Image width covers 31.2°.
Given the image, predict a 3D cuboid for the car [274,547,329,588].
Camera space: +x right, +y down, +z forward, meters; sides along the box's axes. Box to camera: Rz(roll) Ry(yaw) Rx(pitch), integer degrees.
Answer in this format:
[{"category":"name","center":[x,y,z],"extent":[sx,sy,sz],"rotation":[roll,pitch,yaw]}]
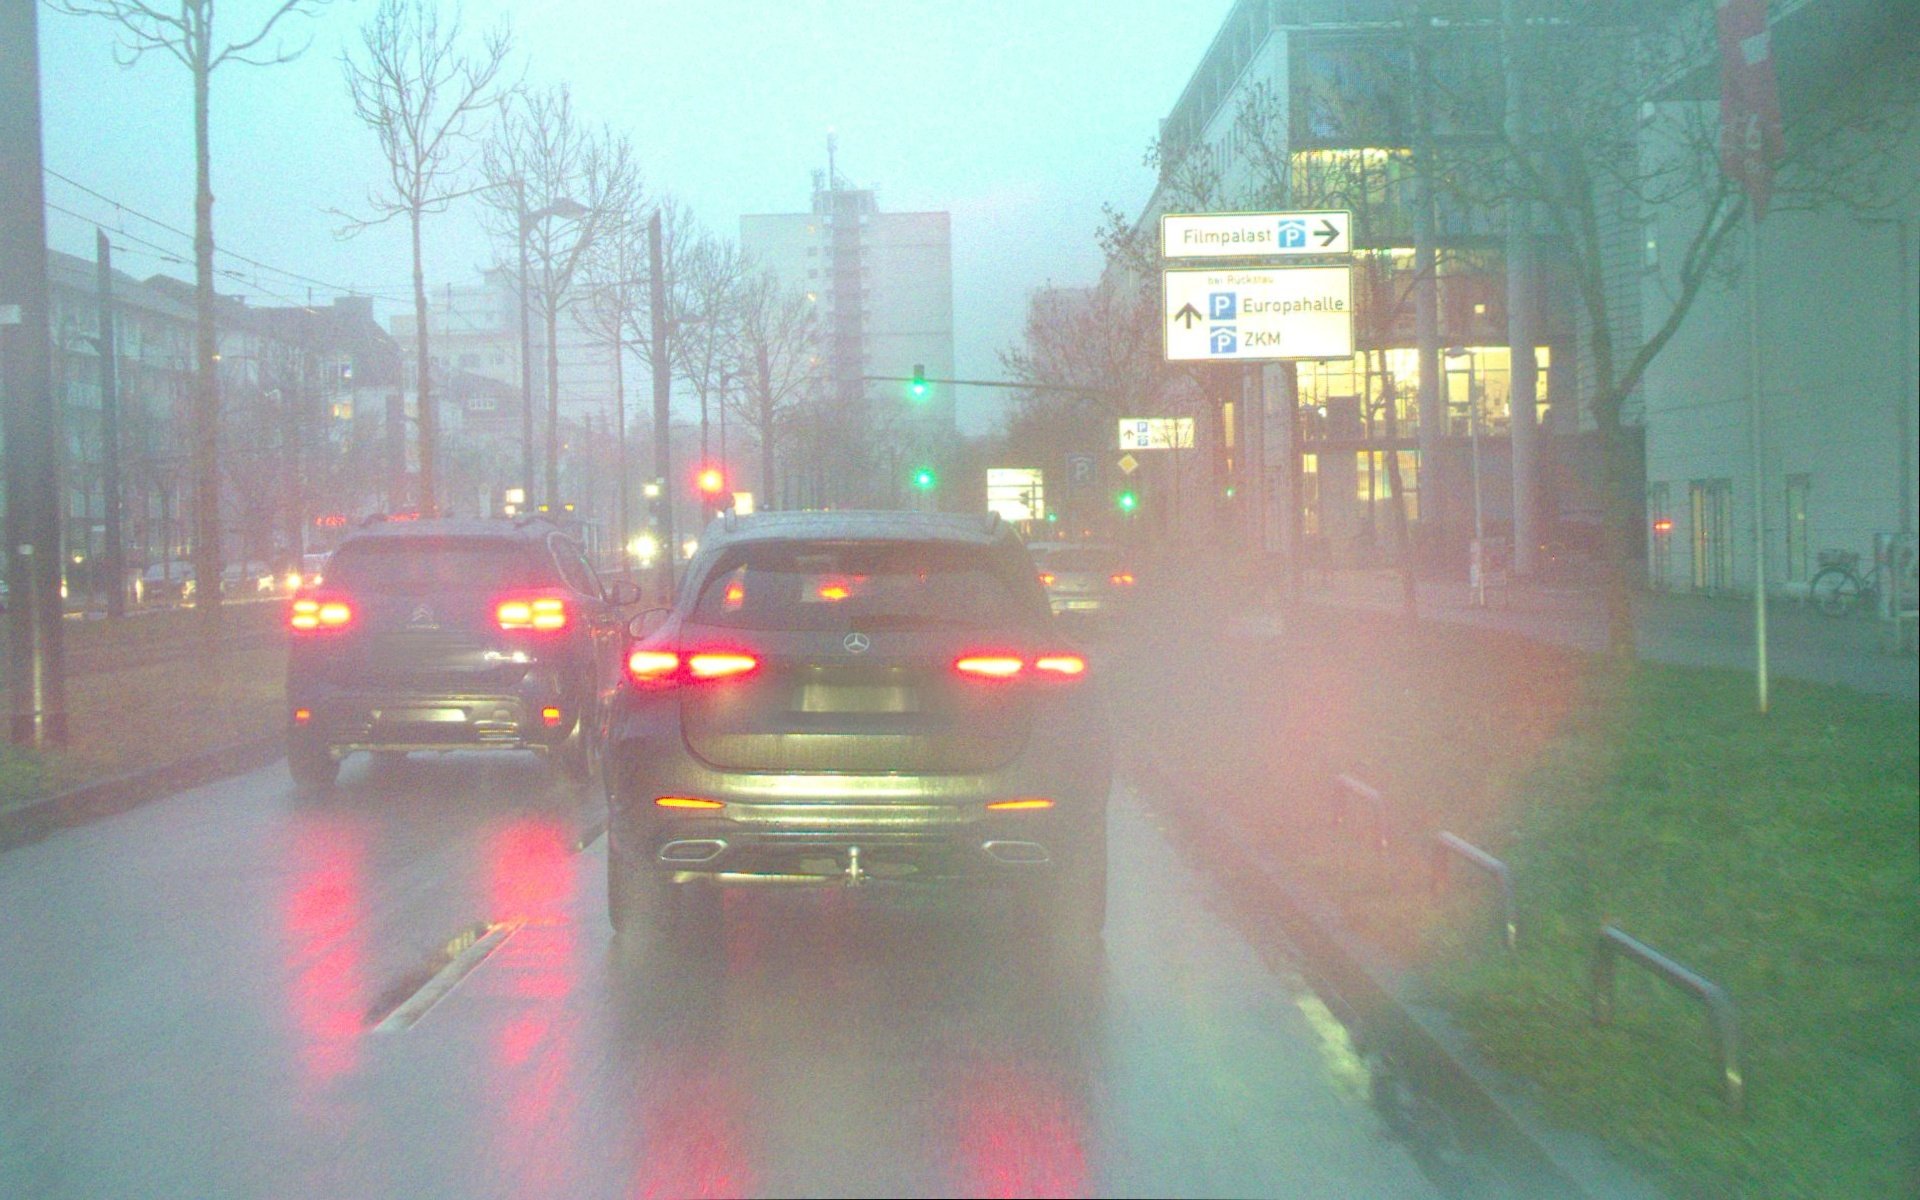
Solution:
[{"category":"car","center":[-27.057,-1.350,141.307],"extent":[1.613,1.617,3.509],"rotation":[1,1,-1]}]

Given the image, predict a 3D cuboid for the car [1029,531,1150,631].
[{"category":"car","center":[2.097,-0.330,55.515],"extent":[1.867,1.537,3.610],"rotation":[1,1,2]}]

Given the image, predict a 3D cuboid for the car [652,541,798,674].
[{"category":"car","center":[-3.019,0.064,44.623],"extent":[1.689,1.629,3.474],"rotation":[1,1,-1]}]

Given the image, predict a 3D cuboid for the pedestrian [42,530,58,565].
[{"category":"pedestrian","center":[-31.181,-1.795,117.783],"extent":[0.345,1.180,0.434],"rotation":[0,1,-41]}]

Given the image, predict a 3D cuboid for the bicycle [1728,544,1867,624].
[{"category":"bicycle","center":[11.672,-0.227,47.922],"extent":[1.808,1.048,0.397],"rotation":[-2,1,-2]}]

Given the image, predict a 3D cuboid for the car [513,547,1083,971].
[{"category":"car","center":[-0.598,0.534,13.965],"extent":[1.993,1.478,3.700],"rotation":[1,1,-1]}]

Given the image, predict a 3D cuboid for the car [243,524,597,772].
[{"category":"car","center":[-3.392,0.242,22.255],"extent":[1.817,1.445,4.001],"rotation":[1,1,-3]}]

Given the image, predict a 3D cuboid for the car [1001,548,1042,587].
[{"category":"car","center":[2.577,-1.368,143.184],"extent":[1.615,1.566,3.351],"rotation":[1,1,3]}]
